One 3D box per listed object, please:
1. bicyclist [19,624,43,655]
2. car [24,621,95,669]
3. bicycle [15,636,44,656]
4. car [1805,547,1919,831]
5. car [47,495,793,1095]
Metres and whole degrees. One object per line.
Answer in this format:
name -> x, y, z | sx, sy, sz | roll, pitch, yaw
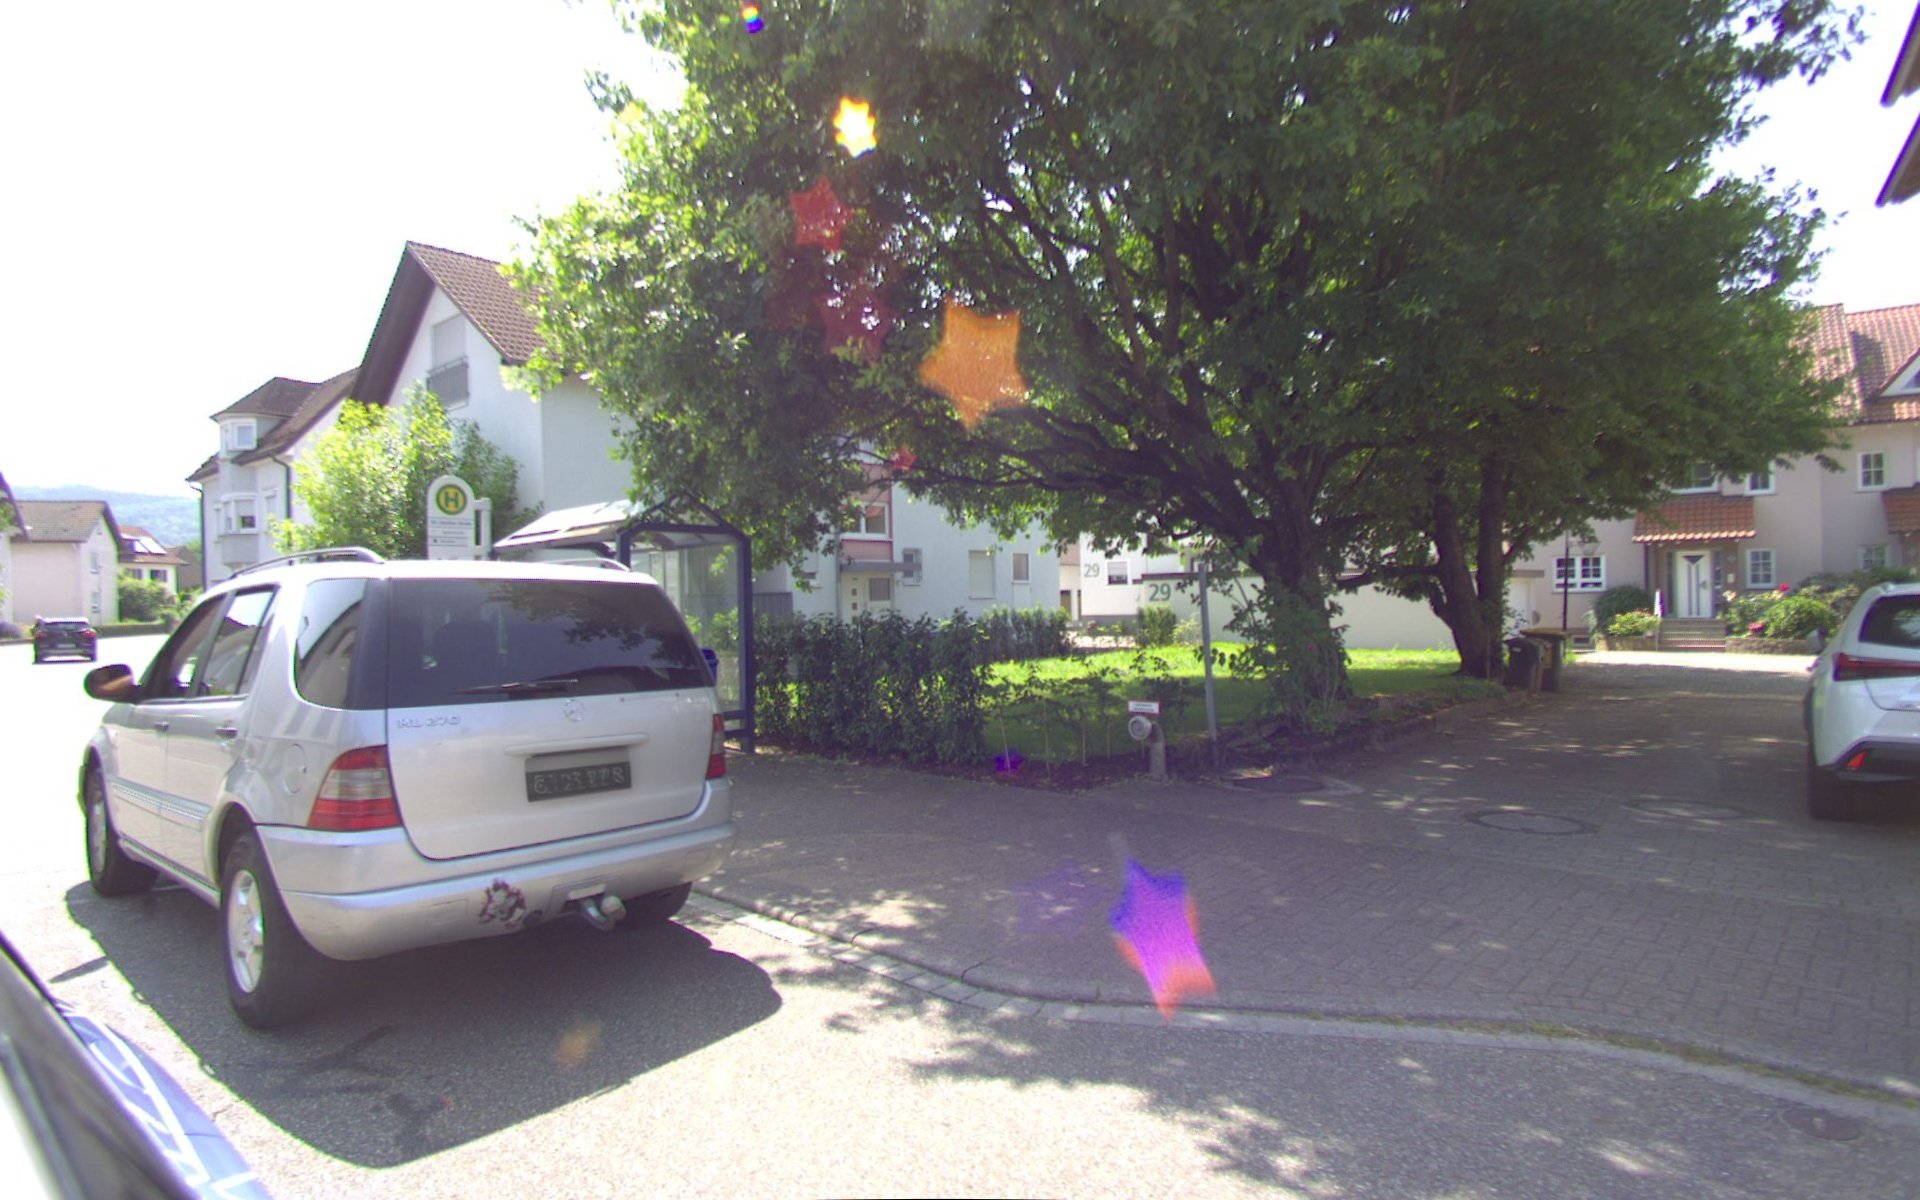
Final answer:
bicyclist -> -47.155, 1.988, 51.371 | 0.538, 1.501, 0.799 | -1, 0, -14
car -> -32.923, 1.609, 36.967 | 1.755, 1.636, 4.108 | 0, -2, -44
bicycle -> -47.125, 2.318, 51.275 | 0.513, 0.911, 1.316 | -1, 0, -14
car -> 6.914, 0.498, 6.781 | 1.773, 1.550, 4.116 | -2, -2, 41
car -> -2.986, 0.657, 5.144 | 4.327, 1.780, 1.866 | -2, -3, 40
